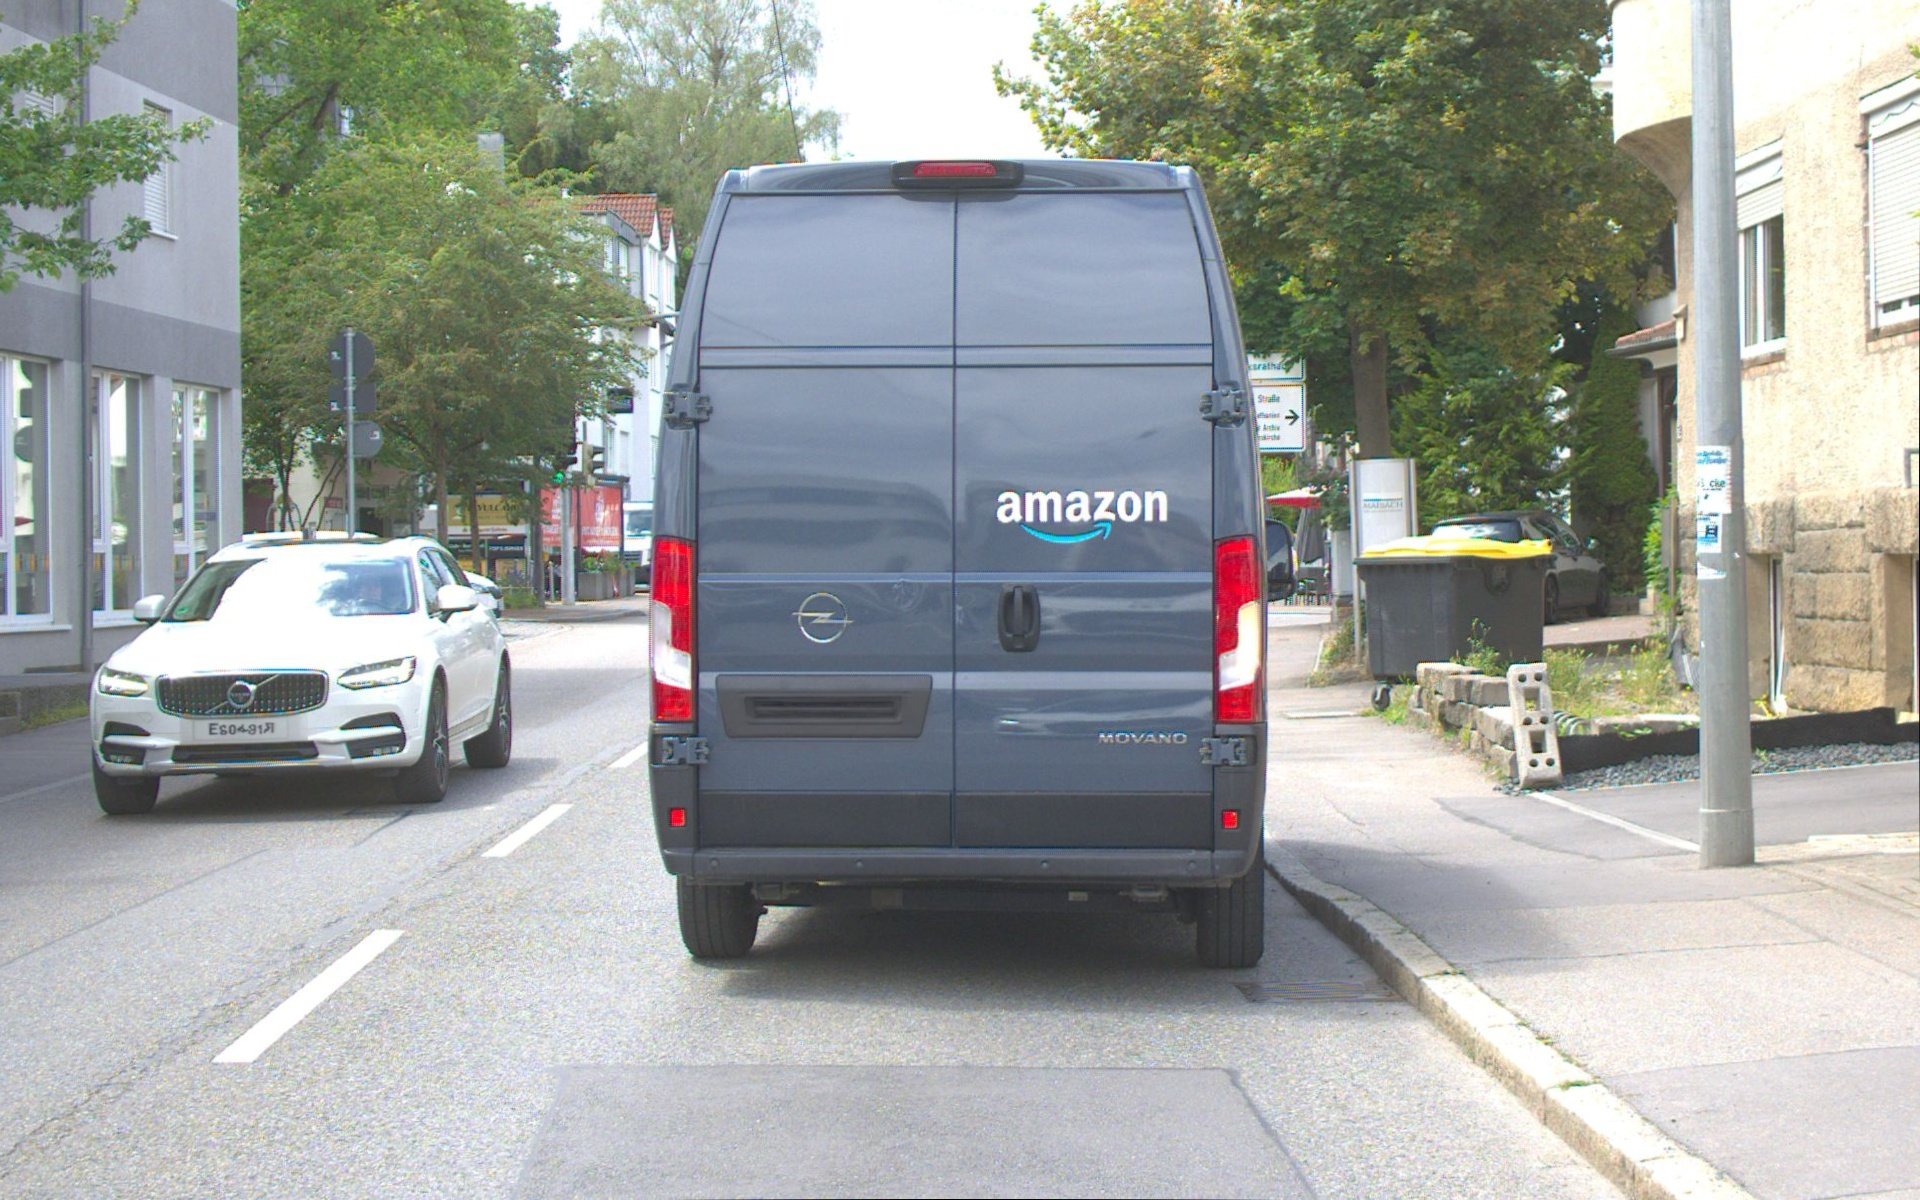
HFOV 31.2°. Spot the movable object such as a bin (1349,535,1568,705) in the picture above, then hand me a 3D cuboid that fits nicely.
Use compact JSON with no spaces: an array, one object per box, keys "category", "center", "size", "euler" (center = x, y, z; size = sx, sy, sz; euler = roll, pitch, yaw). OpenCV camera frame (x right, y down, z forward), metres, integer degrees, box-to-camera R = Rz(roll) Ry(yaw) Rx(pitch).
[{"category":"movable object such as a bin","center":[3.841,0.133,26.524],"size":[1.182,1.261,1.210],"euler":[-1,1,-30]}]

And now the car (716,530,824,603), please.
[{"category":"car","center":[-3.804,-0.695,69.457],"size":[1.874,1.419,4.115],"euler":[0,1,1]}]

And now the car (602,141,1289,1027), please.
[{"category":"car","center":[0.121,-0.114,13.893],"size":[2.148,2.761,6.249],"euler":[0,1,3]}]

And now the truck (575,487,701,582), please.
[{"category":"truck","center":[-8.250,-1.667,88.736],"size":[2.225,2.371,6.325],"euler":[0,1,4]}]

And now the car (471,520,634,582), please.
[{"category":"car","center":[-9.635,-1.172,81.374],"size":[3.692,1.420,1.805],"euler":[0,1,-2]}]

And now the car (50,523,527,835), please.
[{"category":"car","center":[-3.864,0.366,20.644],"size":[1.897,1.554,4.801],"euler":[-3,1,-1]}]

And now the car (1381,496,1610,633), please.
[{"category":"car","center":[7.017,-0.490,44.708],"size":[1.754,1.512,4.074],"euler":[-3,1,26]}]

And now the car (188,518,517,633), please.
[{"category":"car","center":[-8.370,-0.354,47.616],"size":[4.212,1.508,1.822],"euler":[0,2,1]}]
